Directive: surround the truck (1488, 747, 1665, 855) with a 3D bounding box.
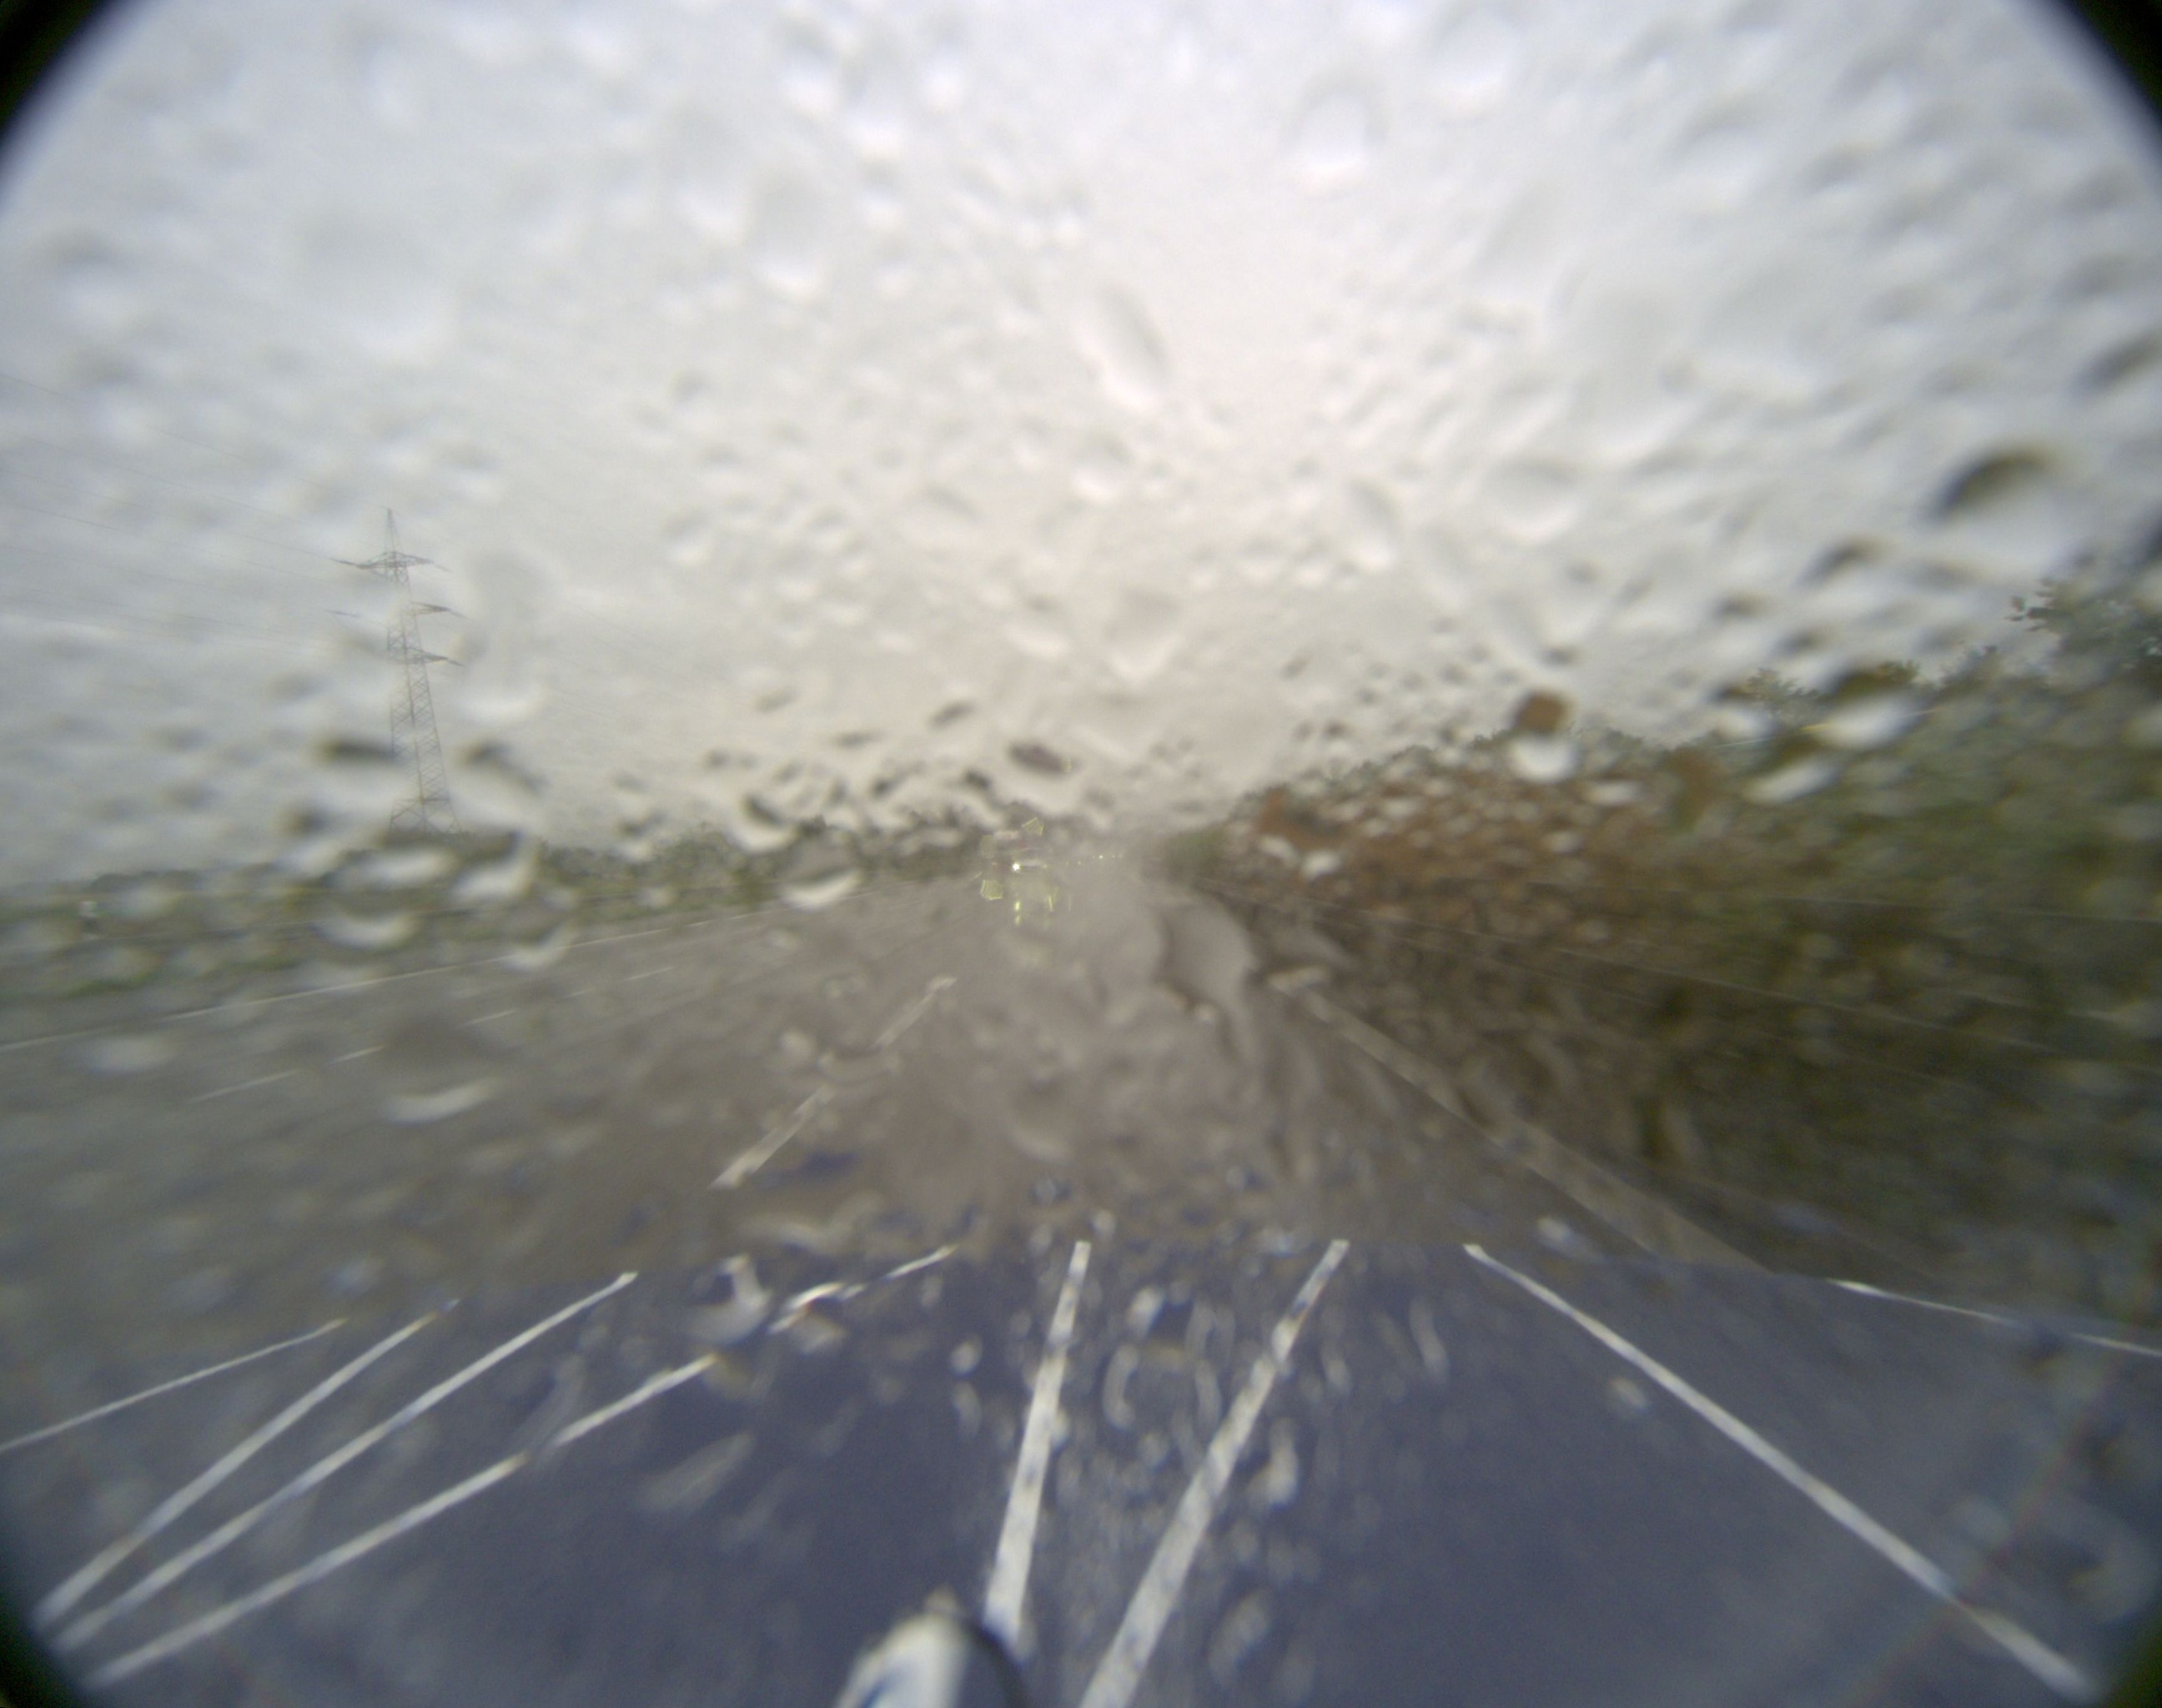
[{"bbox_3d":[17.163,-1.707,26.827,2.655,3.320,5.530,-2,1,1],"label":"truck"}]

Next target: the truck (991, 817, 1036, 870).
[{"bbox_3d":[-6.358,-0.963,73.613,3.136,4.642,11.402,-2,1,1],"label":"truck"}]

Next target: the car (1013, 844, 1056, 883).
[{"bbox_3d":[-2.584,0.511,42.958,1.998,2.002,4.000,-3,1,1],"label":"car"}]

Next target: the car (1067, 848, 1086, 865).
[{"bbox_3d":[-0.529,0.278,92.062,1.998,2.002,4.000,-2,1,3],"label":"car"}]

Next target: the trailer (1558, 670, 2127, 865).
[{"bbox_3d":[17.065,-1.590,19.225,2.656,3.319,11.836,-2,1,1],"label":"trailer"}]
